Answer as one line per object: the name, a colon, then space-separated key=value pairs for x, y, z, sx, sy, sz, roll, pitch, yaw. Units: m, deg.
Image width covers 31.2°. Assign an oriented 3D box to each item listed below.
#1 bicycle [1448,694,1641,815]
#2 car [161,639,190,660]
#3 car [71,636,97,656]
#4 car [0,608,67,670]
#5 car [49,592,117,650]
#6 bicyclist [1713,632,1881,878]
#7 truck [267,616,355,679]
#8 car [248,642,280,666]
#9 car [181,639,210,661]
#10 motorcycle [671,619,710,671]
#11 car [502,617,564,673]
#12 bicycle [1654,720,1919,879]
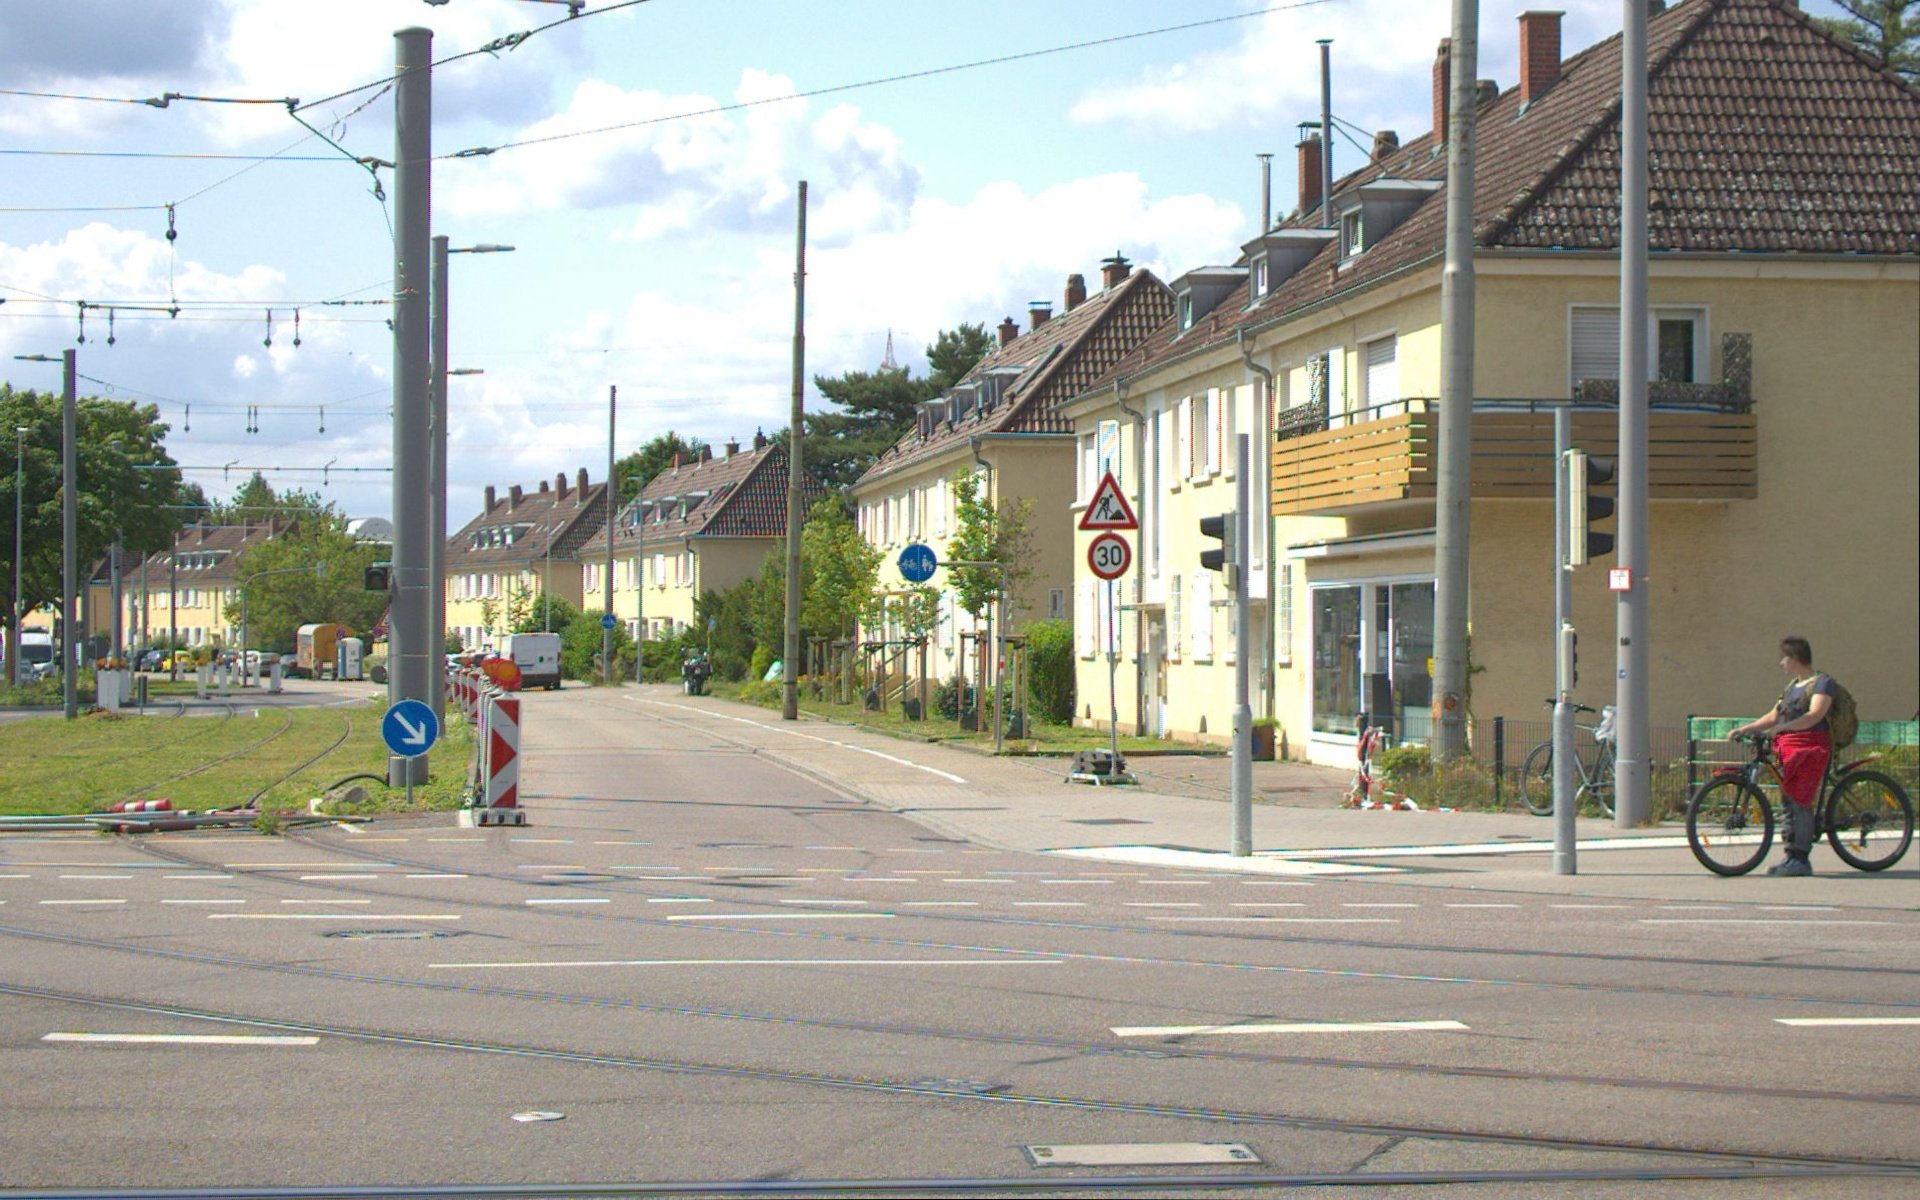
bicycle: x=5.636 y=1.473 z=33.290 sx=0.593 sy=1.093 sz=2.277 roll=0 pitch=-1 yaw=-27
car: x=-52.483 y=3.314 z=229.976 sx=1.257 sy=1.422 sz=2.665 roll=0 pitch=-1 yaw=-28
car: x=-63.251 y=3.314 z=248.194 sx=1.166 sy=1.422 sz=2.665 roll=0 pitch=-1 yaw=-29
car: x=-35.813 y=1.486 z=132.414 sx=2.406 sy=2.330 sz=4.880 roll=0 pitch=-1 yaw=-19
car: x=-36.912 y=0.862 z=144.571 sx=2.406 sy=2.362 sz=4.880 roll=0 pitch=0 yaw=-19
bicyclist: x=6.155 y=1.121 z=25.302 sx=0.957 sy=1.769 sz=0.719 roll=0 pitch=-1 yaw=-27
truck: x=-36.741 y=2.662 z=194.432 sx=2.640 sy=3.482 sz=9.439 roll=0 pitch=-1 yaw=-25
car: x=-41.763 y=3.240 z=206.249 sx=1.257 sy=1.422 sz=2.666 roll=0 pitch=-1 yaw=-25
car: x=-50.368 y=3.264 z=226.410 sx=1.257 sy=1.422 sz=2.665 roll=0 pitch=-1 yaw=-26
motorcycle: x=-8.614 y=1.434 z=109.681 sx=1.066 sy=1.630 sz=2.084 roll=0 pitch=-1 yaw=-10
car: x=-16.746 y=1.766 z=134.586 sx=2.065 sy=2.142 sz=4.879 roll=0 pitch=-1 yaw=-11
bicycle: x=6.136 y=1.448 z=25.287 sx=2.027 sy=1.098 sz=0.715 roll=0 pitch=-1 yaw=-28
